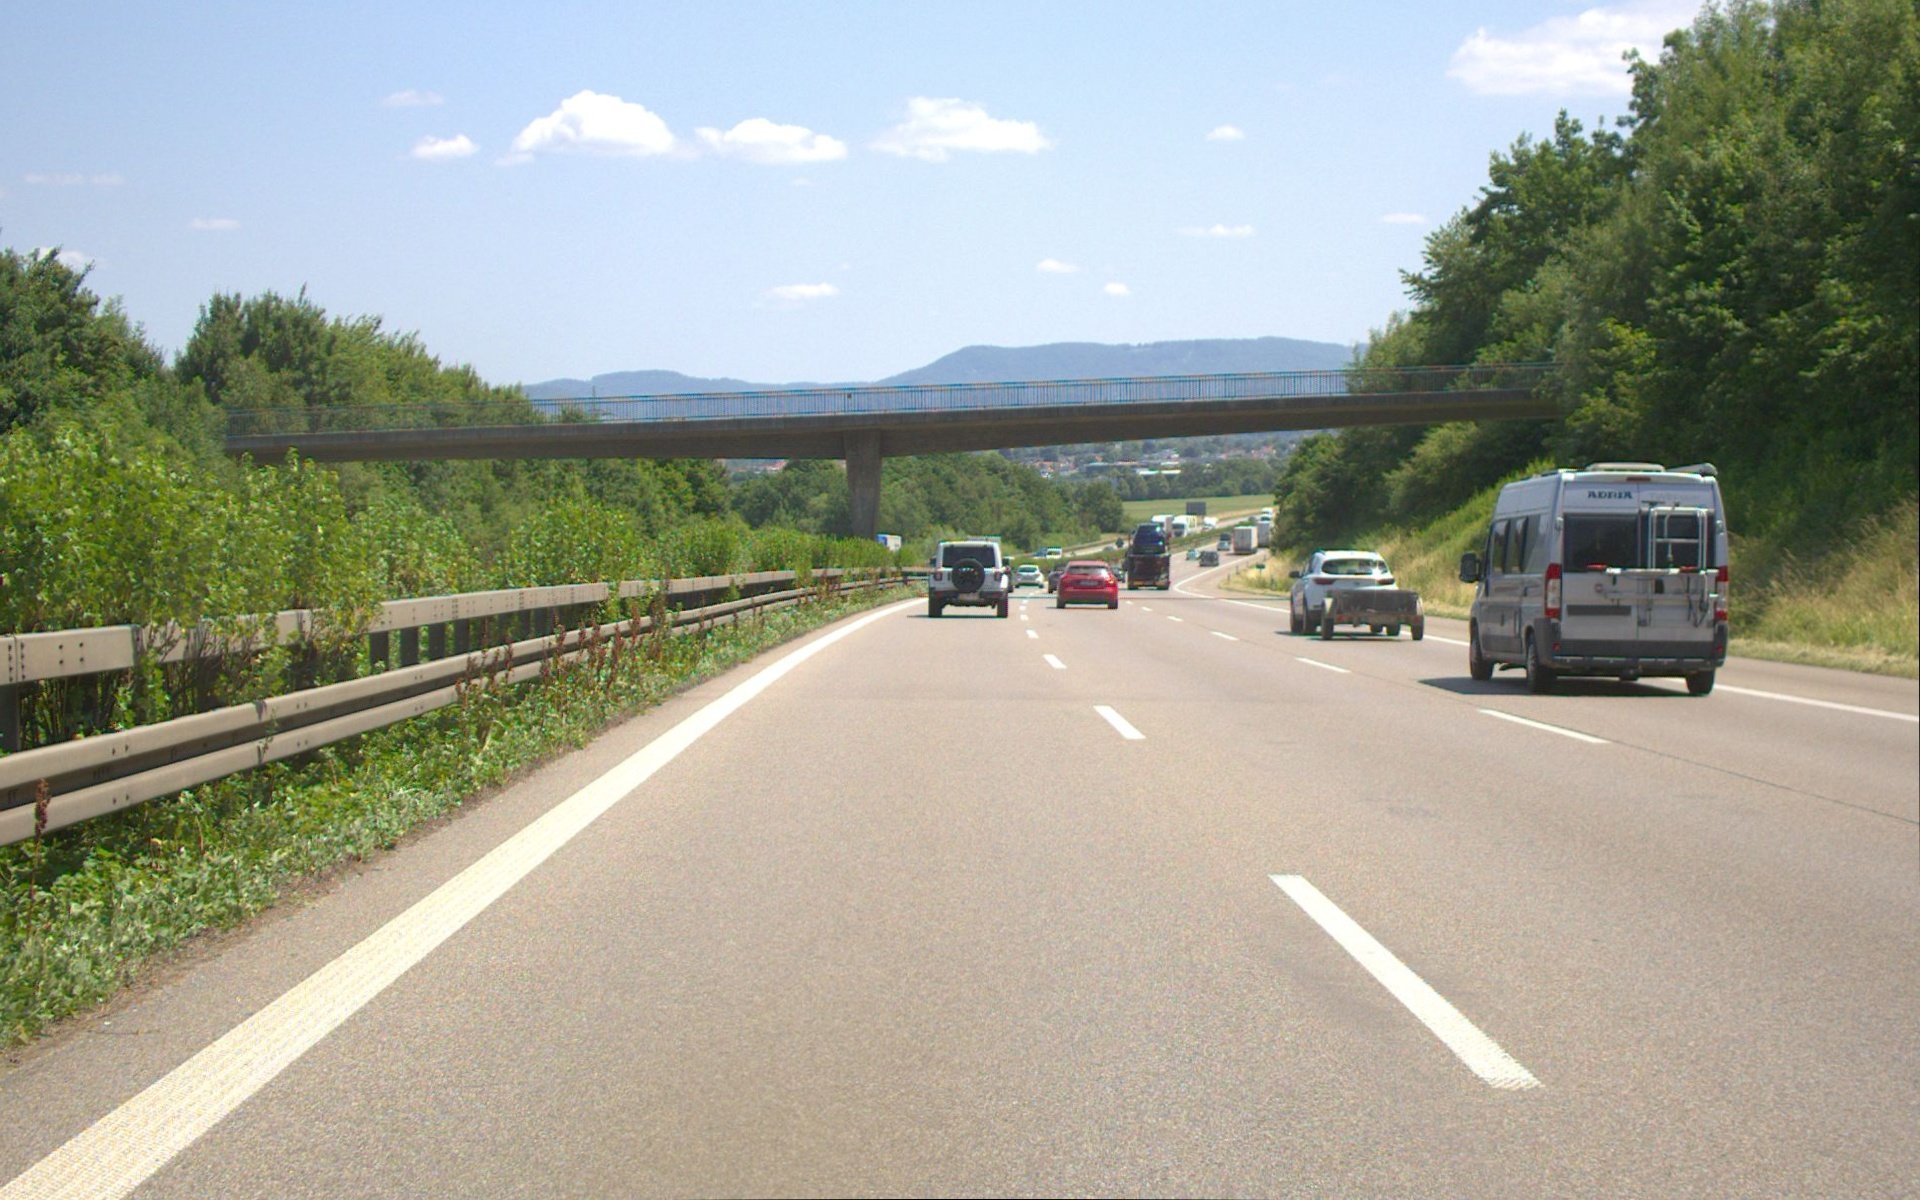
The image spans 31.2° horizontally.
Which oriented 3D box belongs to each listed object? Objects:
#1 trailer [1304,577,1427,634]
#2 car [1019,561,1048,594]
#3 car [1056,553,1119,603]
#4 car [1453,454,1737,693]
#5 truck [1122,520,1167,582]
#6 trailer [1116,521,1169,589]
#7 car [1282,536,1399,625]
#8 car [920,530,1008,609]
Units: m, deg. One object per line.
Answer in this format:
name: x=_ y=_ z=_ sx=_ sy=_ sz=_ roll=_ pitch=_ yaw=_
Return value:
trailer: x=7.508 y=0.078 z=63.993 sx=1.754 sy=0.905 sz=4.320 roll=1 pitch=2 yaw=0
car: x=4.637 y=-1.434 z=216.535 sx=1.698 sy=2.006 sz=3.822 roll=1 pitch=2 yaw=0
car: x=3.793 y=-0.669 z=102.757 sx=1.686 sy=1.374 sz=3.949 roll=1 pitch=2 yaw=0
car: x=7.337 y=-0.385 z=40.456 sx=2.089 sy=2.567 sz=6.622 roll=1 pitch=2 yaw=0
truck: x=11.927 y=-3.185 z=221.688 sx=2.754 sy=3.839 sz=6.643 roll=1 pitch=2 yaw=4
trailer: x=11.409 y=-2.895 z=214.073 sx=2.855 sy=3.979 sz=15.395 roll=1 pitch=2 yaw=5
car: x=7.527 y=-0.414 z=68.355 sx=1.781 sy=1.645 sz=4.403 roll=1 pitch=2 yaw=0
car: x=0.128 y=-0.779 z=84.584 sx=2.083 sy=1.823 sz=4.754 roll=1 pitch=2 yaw=1
